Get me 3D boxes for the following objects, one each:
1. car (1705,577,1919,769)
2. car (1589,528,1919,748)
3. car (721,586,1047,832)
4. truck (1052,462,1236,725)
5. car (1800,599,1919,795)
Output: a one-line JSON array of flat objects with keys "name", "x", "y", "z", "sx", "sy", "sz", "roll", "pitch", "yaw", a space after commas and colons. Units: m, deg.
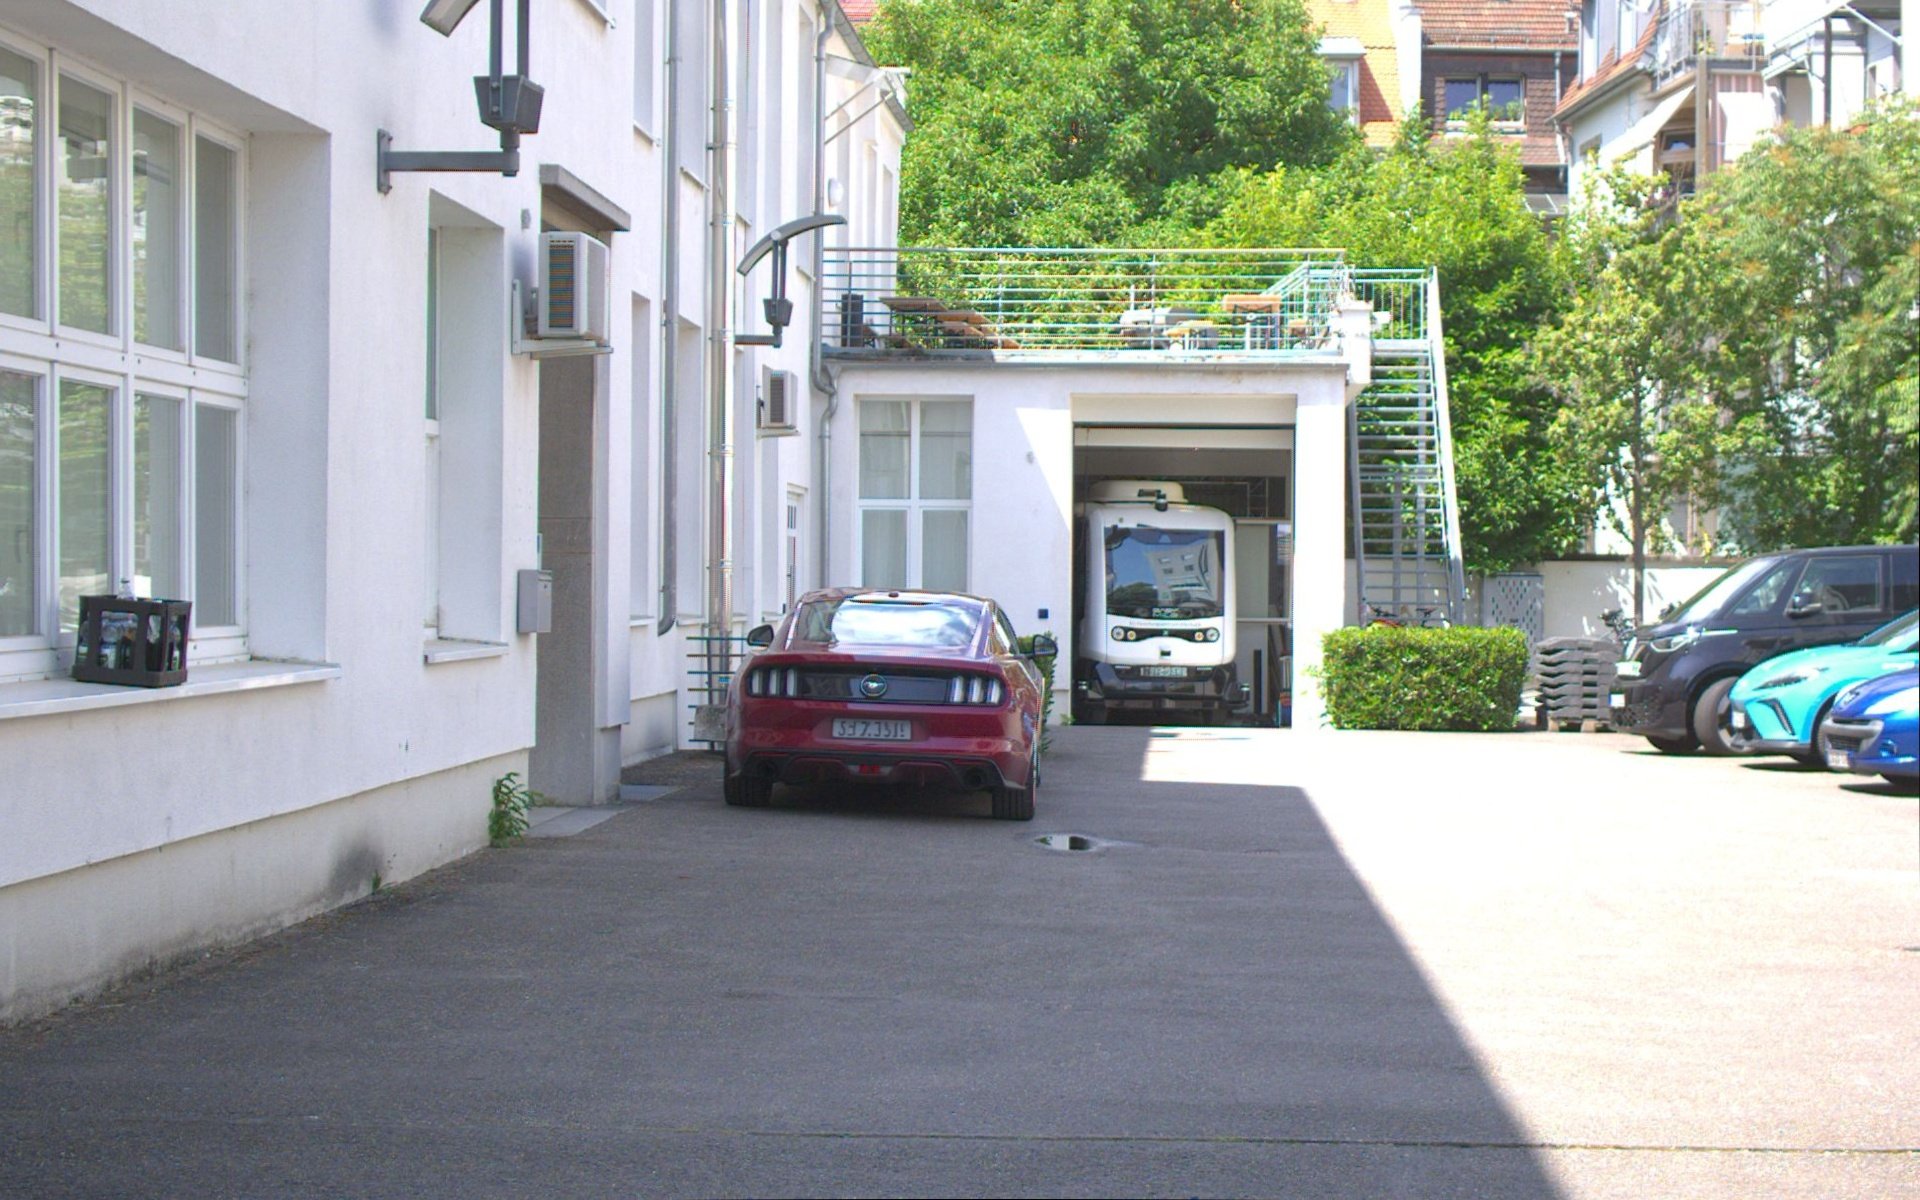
[{"name": "car", "x": 8.326, "y": 0.578, "z": 28.401, "sx": 3.987, "sy": 1.529, "sz": 1.804, "roll": 0, "pitch": 0, "yaw": 2}, {"name": "car", "x": 8.258, "y": 0.328, "z": 31.452, "sx": 4.678, "sy": 1.951, "sz": 2.076, "roll": 0, "pitch": 0, "yaw": 2}, {"name": "car", "x": -0.393, "y": 0.627, "z": 22.045, "sx": 1.799, "sy": 1.385, "sz": 4.000, "roll": 1, "pitch": 1, "yaw": 3}, {"name": "truck", "x": 2.131, "y": -0.084, "z": 40.932, "sx": 1.788, "sy": 2.927, "sz": 4.653, "roll": 1, "pitch": 0, "yaw": -2}, {"name": "car", "x": 8.405, "y": 0.694, "z": 25.410, "sx": 3.987, "sy": 1.385, "sz": 1.804, "roll": 0, "pitch": 0, "yaw": 2}]
